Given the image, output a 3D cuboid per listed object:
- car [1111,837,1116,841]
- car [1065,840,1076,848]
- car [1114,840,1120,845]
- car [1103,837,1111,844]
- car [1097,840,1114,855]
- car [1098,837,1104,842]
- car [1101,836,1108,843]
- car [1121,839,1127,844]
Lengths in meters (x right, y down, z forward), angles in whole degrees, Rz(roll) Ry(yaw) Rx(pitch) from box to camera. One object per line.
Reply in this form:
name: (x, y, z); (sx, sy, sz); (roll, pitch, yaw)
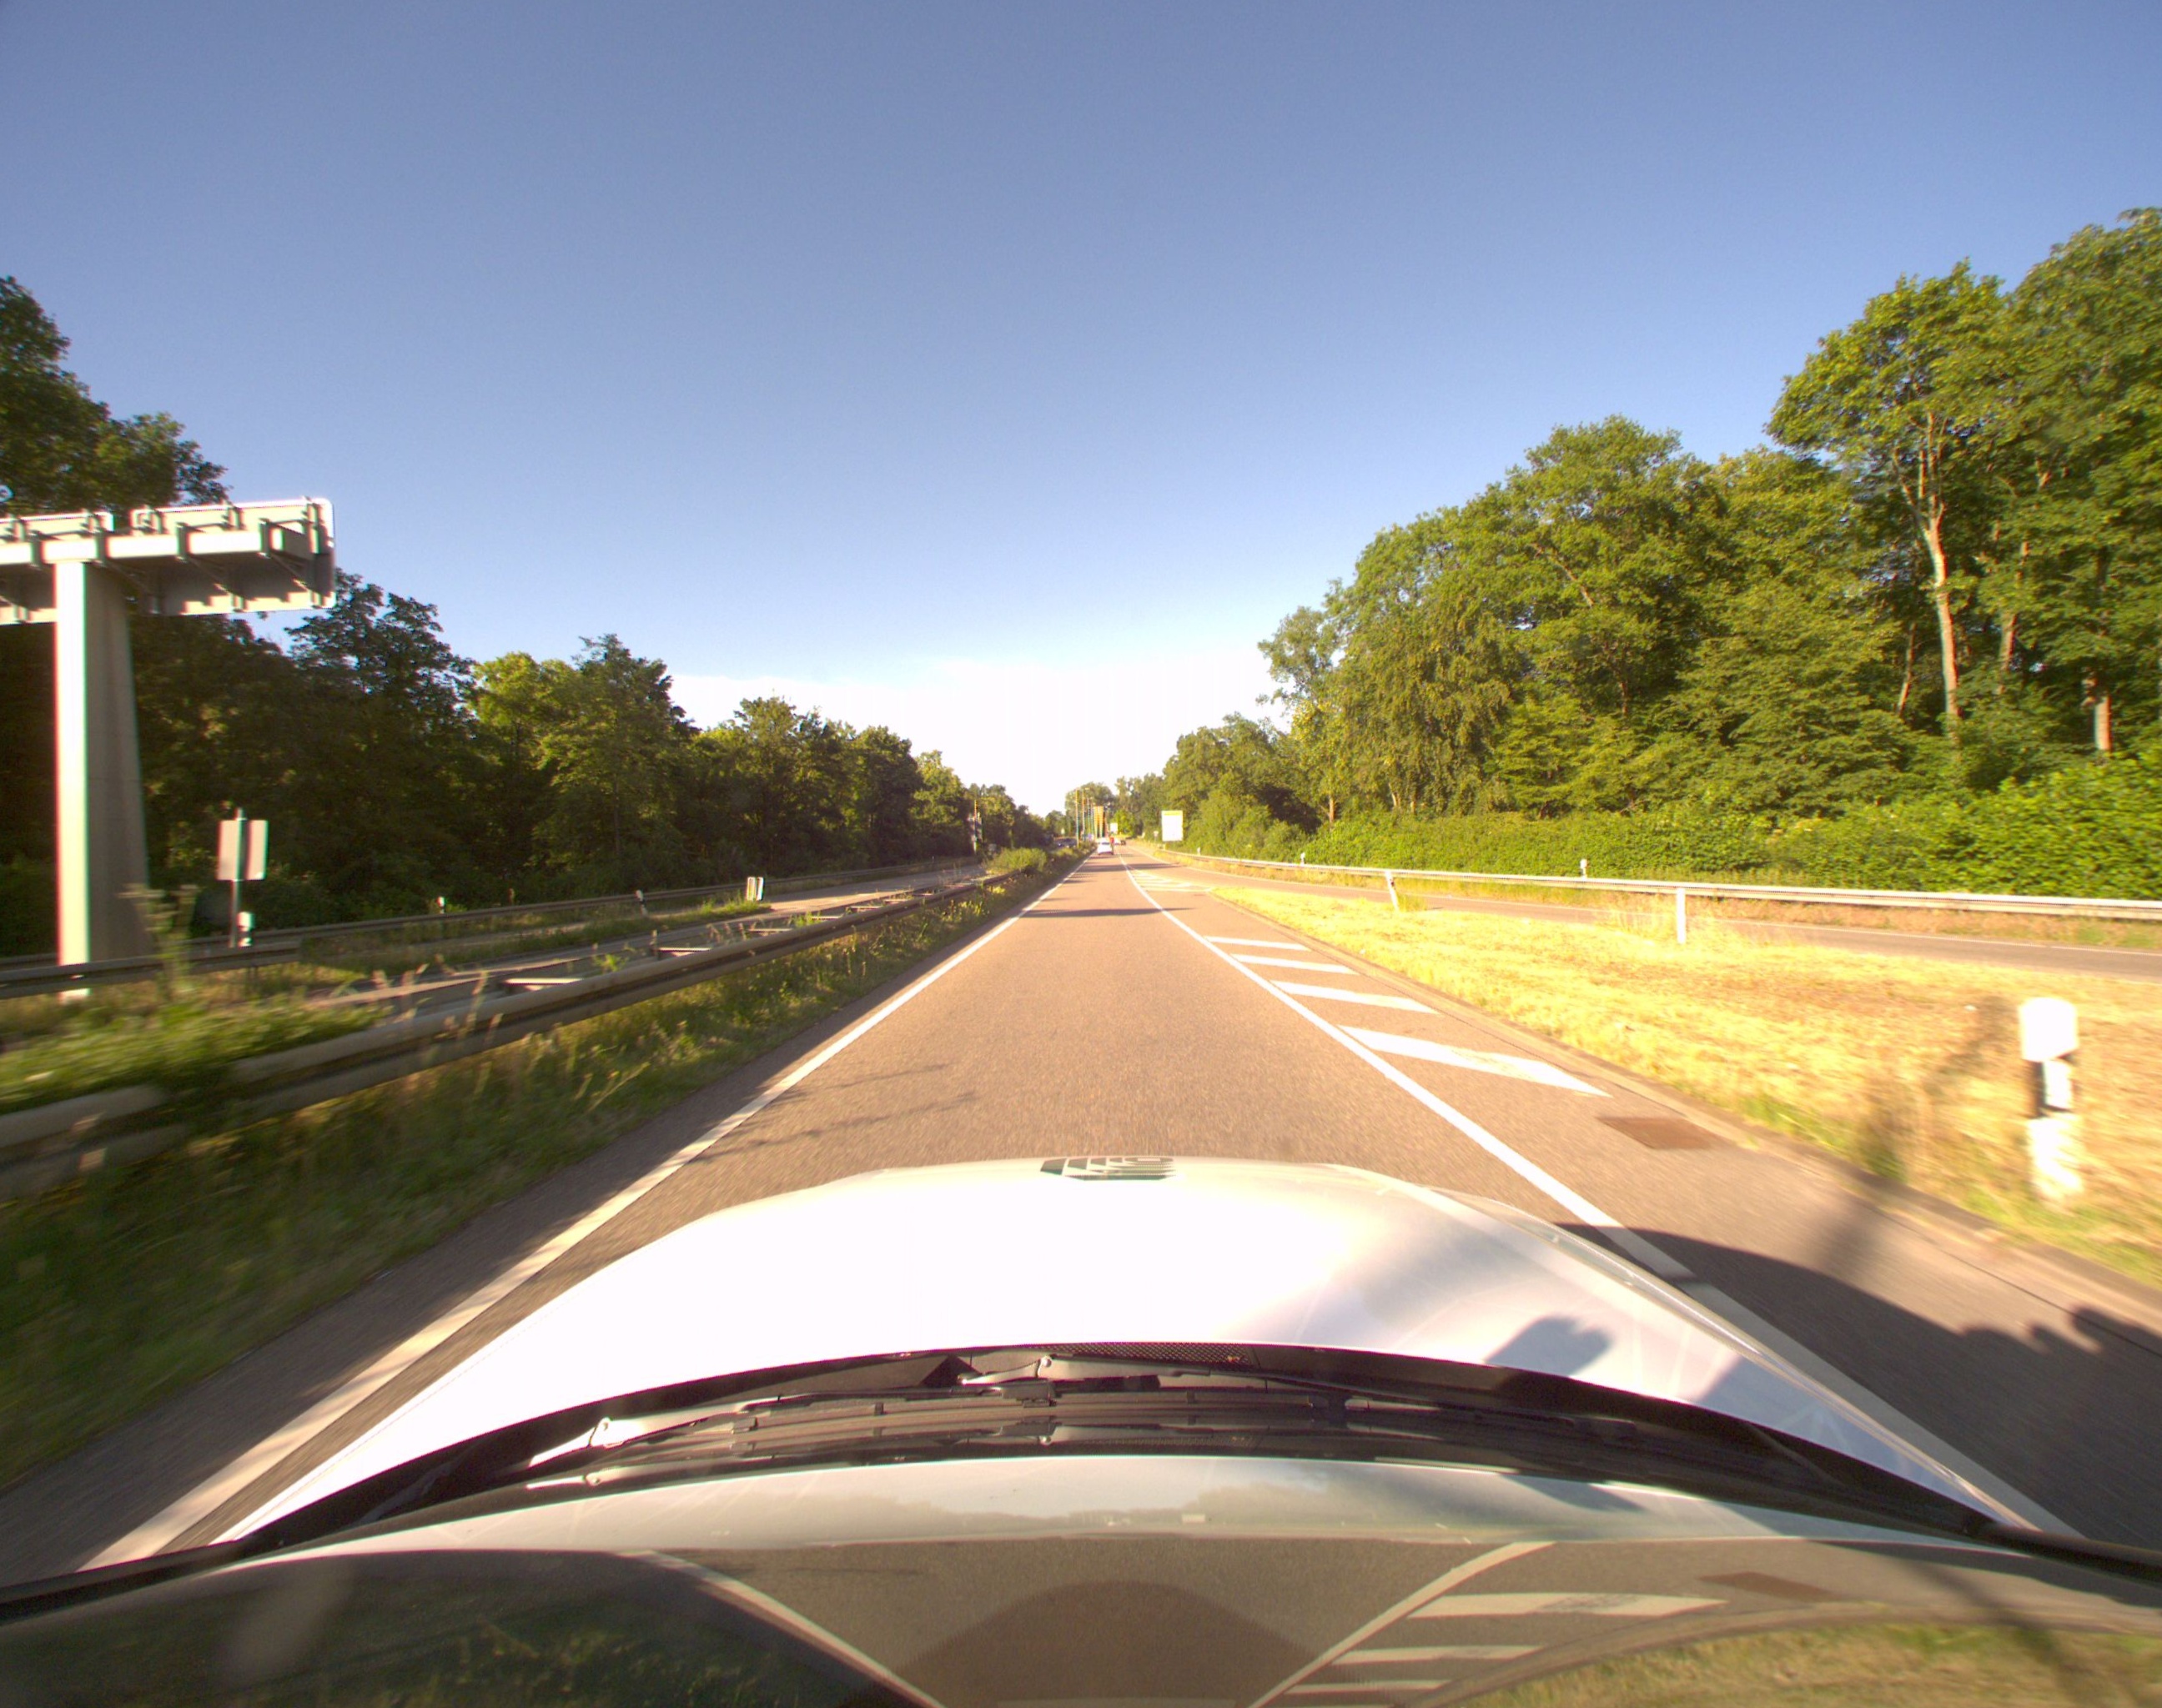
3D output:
car: (9.964, -4.576, 250.740); (1.618, 1.389, 2.988); (1, 0, 2)
car: (-2.068, -2.013, 163.635); (1.773, 1.403, 4.558); (-2, 1, 4)
car: (10.105, -3.291, 227.983); (1.618, 1.280, 2.988); (1, 0, 2)
car: (7.105, -3.703, 222.970); (1.986, 1.879, 4.251); (-3, 2, 2)
car: (2.968, -0.795, 99.426); (1.987, 1.639, 4.129); (-3, 2, 0)
car: (6.203, -4.589, 251.475); (1.821, 1.513, 3.633); (0, 0, 1)
car: (6.836, -4.165, 238.303); (1.986, 2.013, 4.001); (0, 0, 1)
car: (11.082, -3.252, 210.699); (1.383, 1.280, 2.988); (1, 0, 2)
